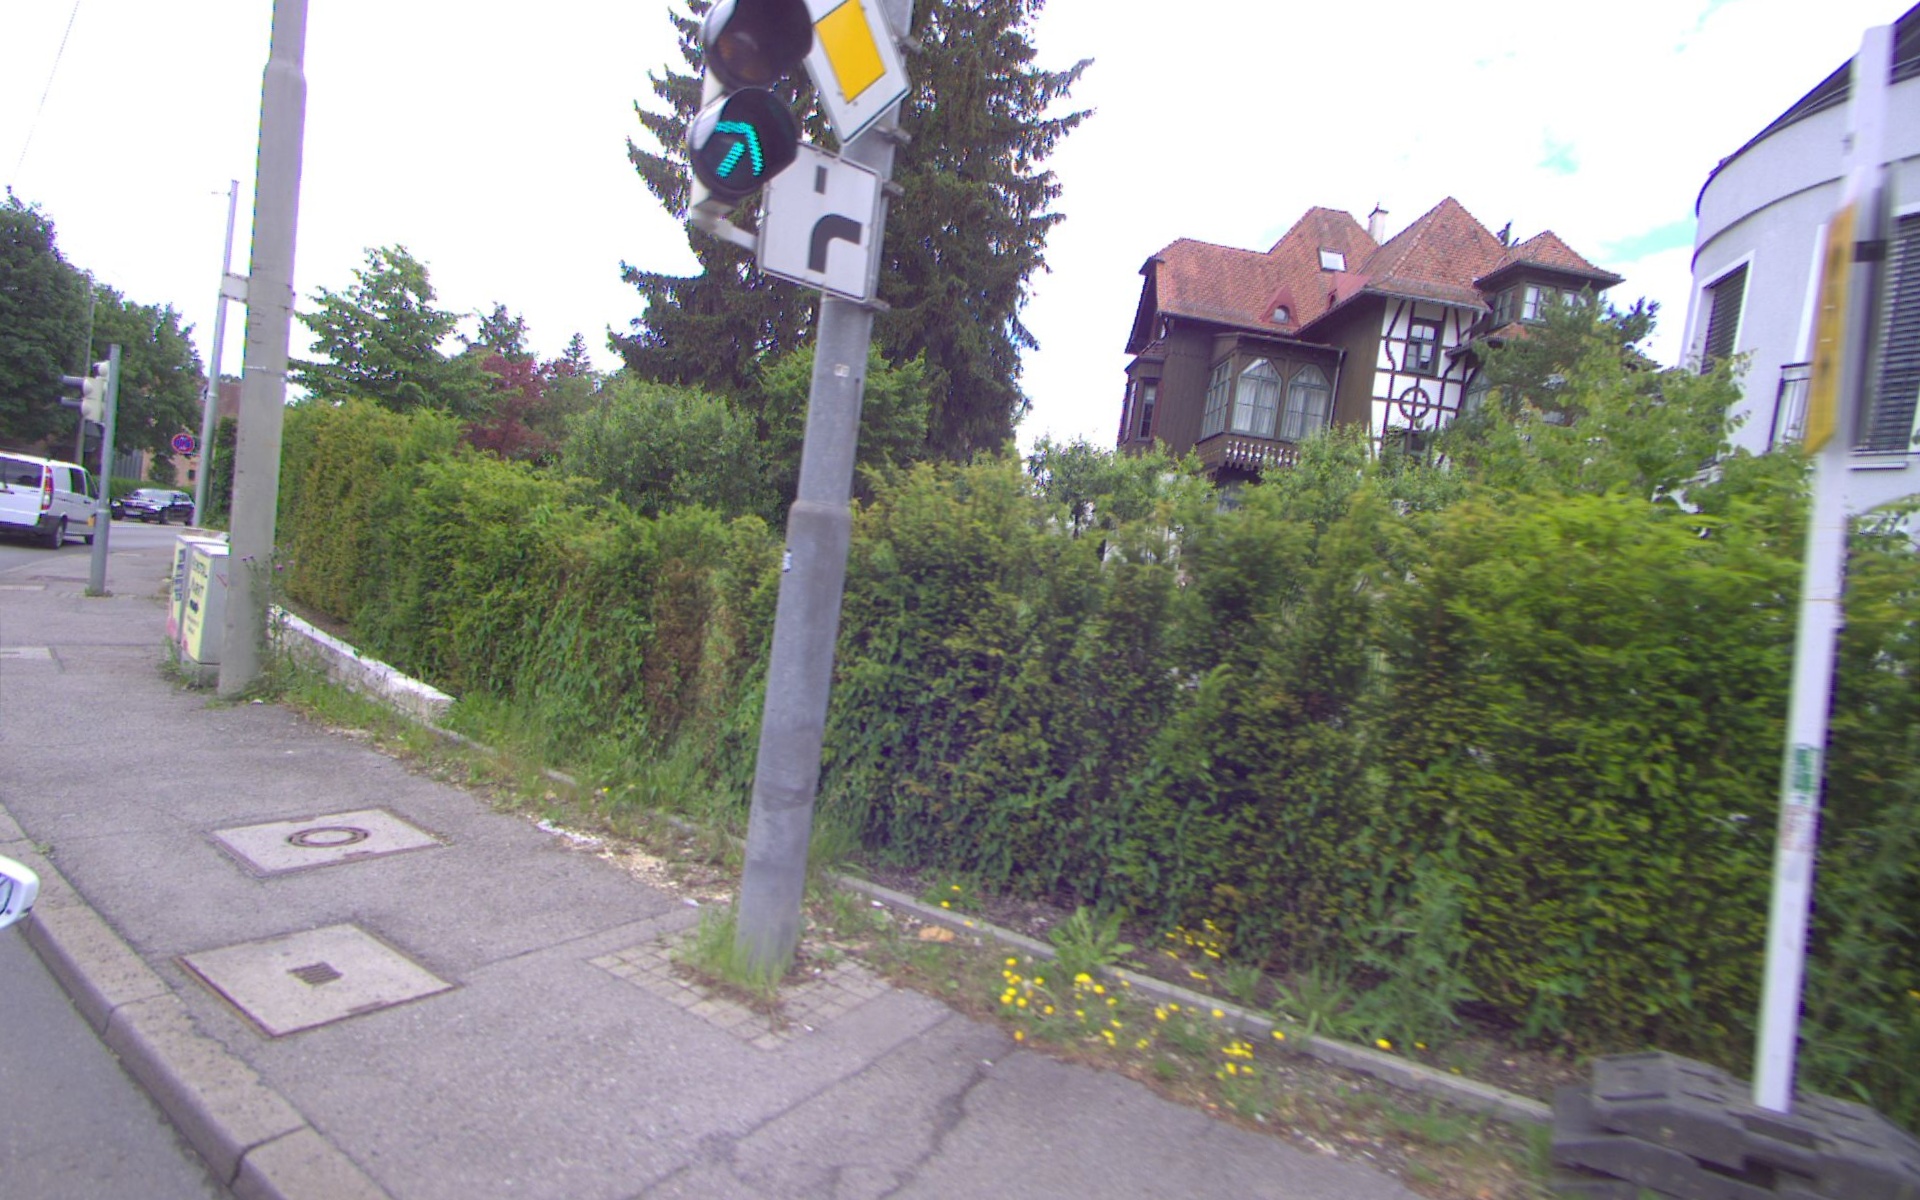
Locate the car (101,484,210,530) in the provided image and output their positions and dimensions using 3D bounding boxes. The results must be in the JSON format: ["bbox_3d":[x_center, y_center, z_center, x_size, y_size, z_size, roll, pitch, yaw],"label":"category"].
[{"bbox_3d":[-32.268,-3.711,40.498,1.739,1.426,3.989,6,1,-12],"label":"car"}]

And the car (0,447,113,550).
[{"bbox_3d":[-20.750,-2.310,22.346,1.942,1.979,4.190,8,0,-29],"label":"car"}]
